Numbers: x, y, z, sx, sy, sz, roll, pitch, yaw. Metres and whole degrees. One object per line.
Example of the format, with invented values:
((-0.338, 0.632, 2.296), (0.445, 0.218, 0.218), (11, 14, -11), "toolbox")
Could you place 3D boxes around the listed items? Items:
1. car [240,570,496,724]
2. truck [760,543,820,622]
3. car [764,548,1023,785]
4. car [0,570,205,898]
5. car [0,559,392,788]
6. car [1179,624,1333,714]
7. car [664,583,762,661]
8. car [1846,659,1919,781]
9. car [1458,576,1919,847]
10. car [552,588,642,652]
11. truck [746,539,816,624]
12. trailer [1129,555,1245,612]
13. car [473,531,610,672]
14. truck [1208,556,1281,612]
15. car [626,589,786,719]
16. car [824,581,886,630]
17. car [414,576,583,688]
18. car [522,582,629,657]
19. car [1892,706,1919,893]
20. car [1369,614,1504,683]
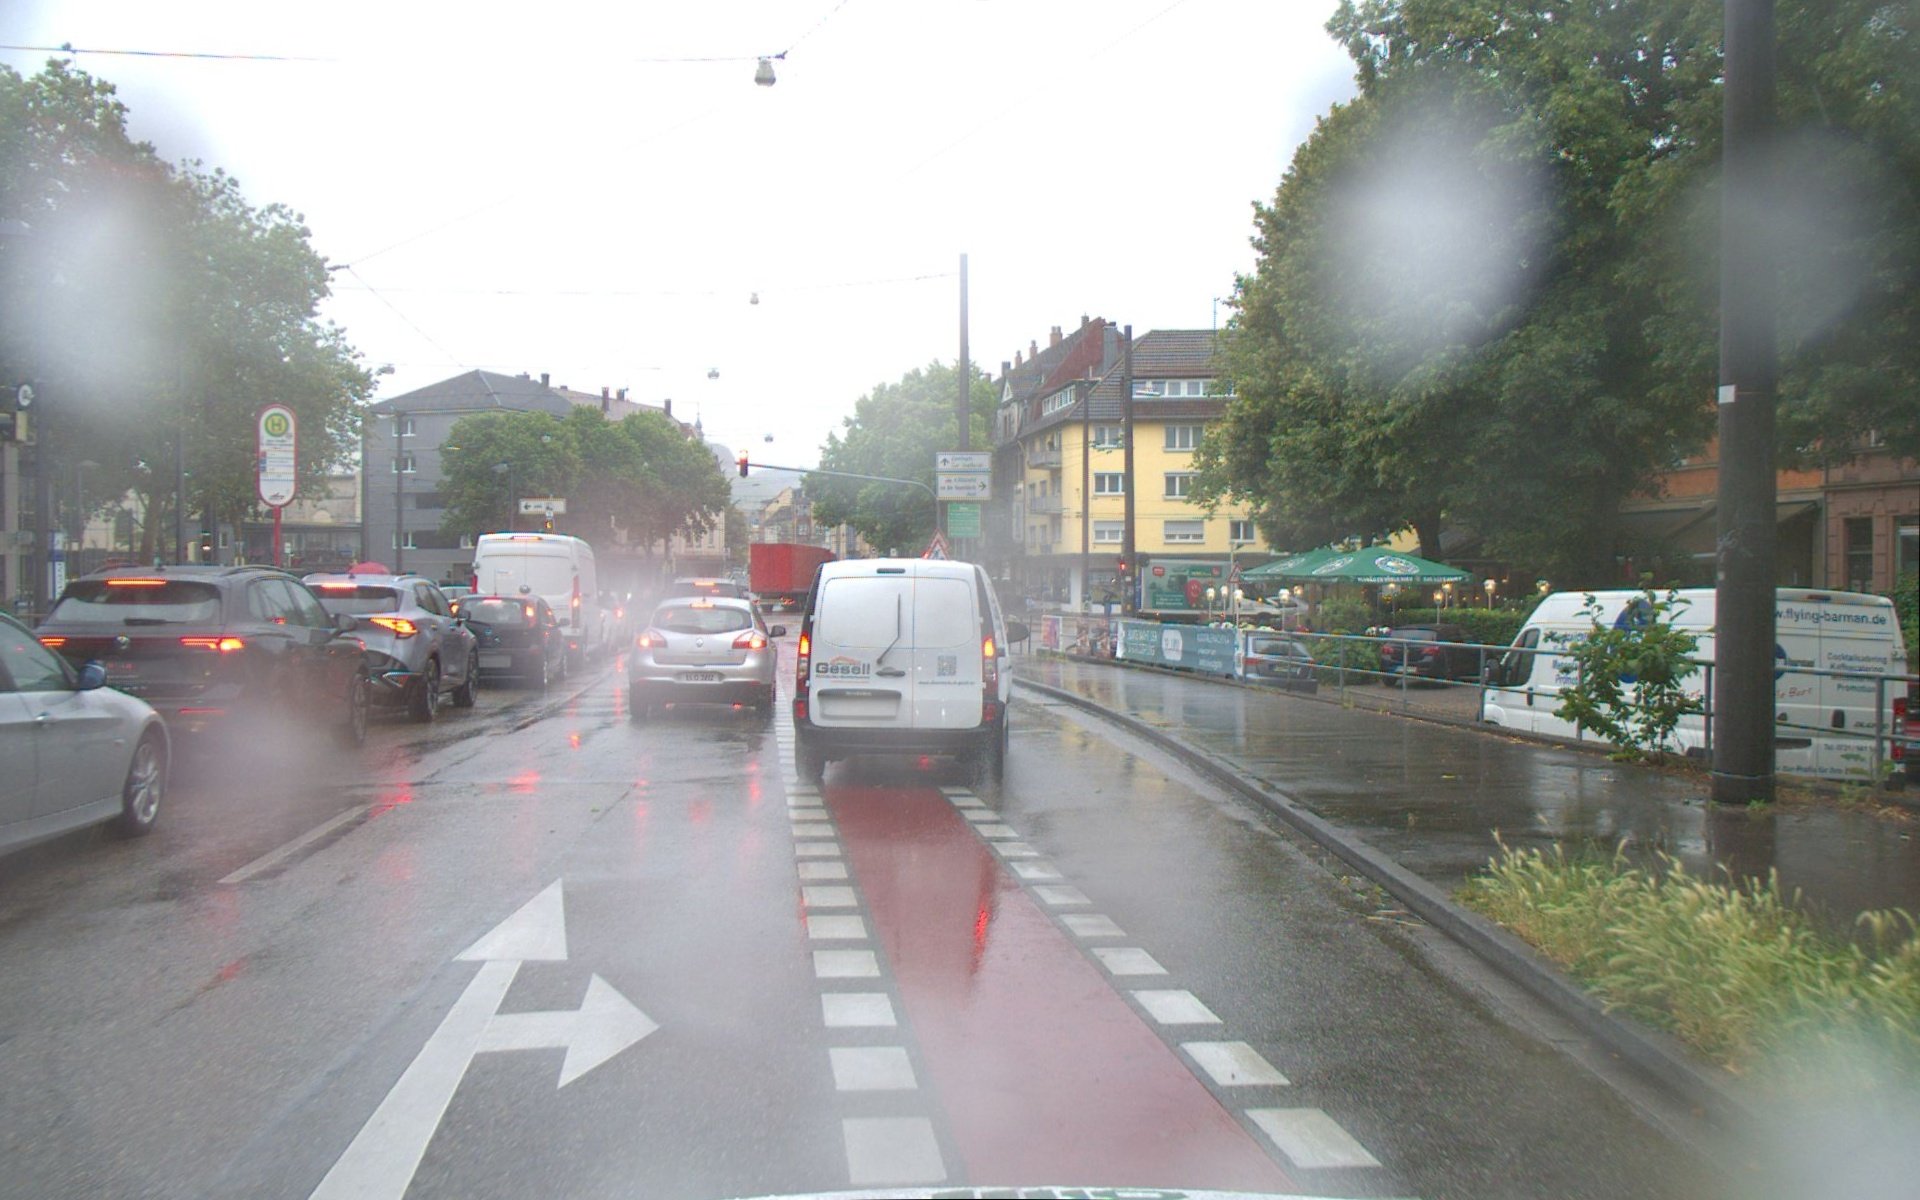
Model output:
((-6.969, 0.514, 19.952), (1.956, 1.606, 4.285), (2, 0, -7), "car")
((-11.160, -1.199, 109.312), (3.211, 4.985, 7.181), (-1, 1, 0), "truck")
((-0.452, 0.539, 14.584), (1.918, 1.808, 3.571), (1, -1, 3), "car")
((-5.521, 0.606, 8.251), (1.956, 1.498, 4.260), (2, 1, -7), "car")
((-6.310, 0.537, 13.975), (1.956, 1.606, 4.285), (2, 0, -7), "car")
((5.864, 1.326, 33.311), (1.788, 1.516, 4.345), (-1, 1, -8), "car")
((-5.061, 0.452, 34.226), (1.726, 1.494, 3.530), (1, -1, -4), "car")
((14.128, 1.634, 23.290), (3.638, 1.462, 1.685), (-2, 1, -40), "car")
((8.106, 1.045, 19.119), (2.140, 2.576, 5.765), (-1, 1, -10), "car")
((-9.920, 0.532, 45.509), (1.956, 1.624, 4.605), (2, 0, -7), "car")
((-11.133, -1.230, 103.882), (3.211, 4.985, 11.399), (-1, 1, -1), "truck")
((9.728, -0.694, 71.110), (4.567, 2.357, 1.995), (1, -1, -10), "trailer")
((-8.033, 0.036, 32.151), (1.956, 2.485, 4.605), (2, 0, -7), "car")
((12.291, -0.658, 71.523), (2.591, 2.339, 1.996), (1, -1, -9), "truck")
((-3.156, 0.650, 21.143), (1.726, 1.494, 3.530), (1, -1, -4), "car")
((-3.410, 0.170, 54.266), (1.954, 1.569, 3.998), (0, 0, -3), "car")
((-7.324, 0.481, 26.683), (1.956, 1.606, 4.285), (2, 0, -7), "car")
((-9.097, 0.451, 39.446), (1.956, 1.624, 4.605), (2, 0, -7), "car")
((9.164, 1.675, 12.026), (1.790, 1.516, 4.341), (-1, 1, -11), "car")
((11.944, 1.173, 41.347), (1.855, 1.504, 3.981), (0, 1, 39), "car")
